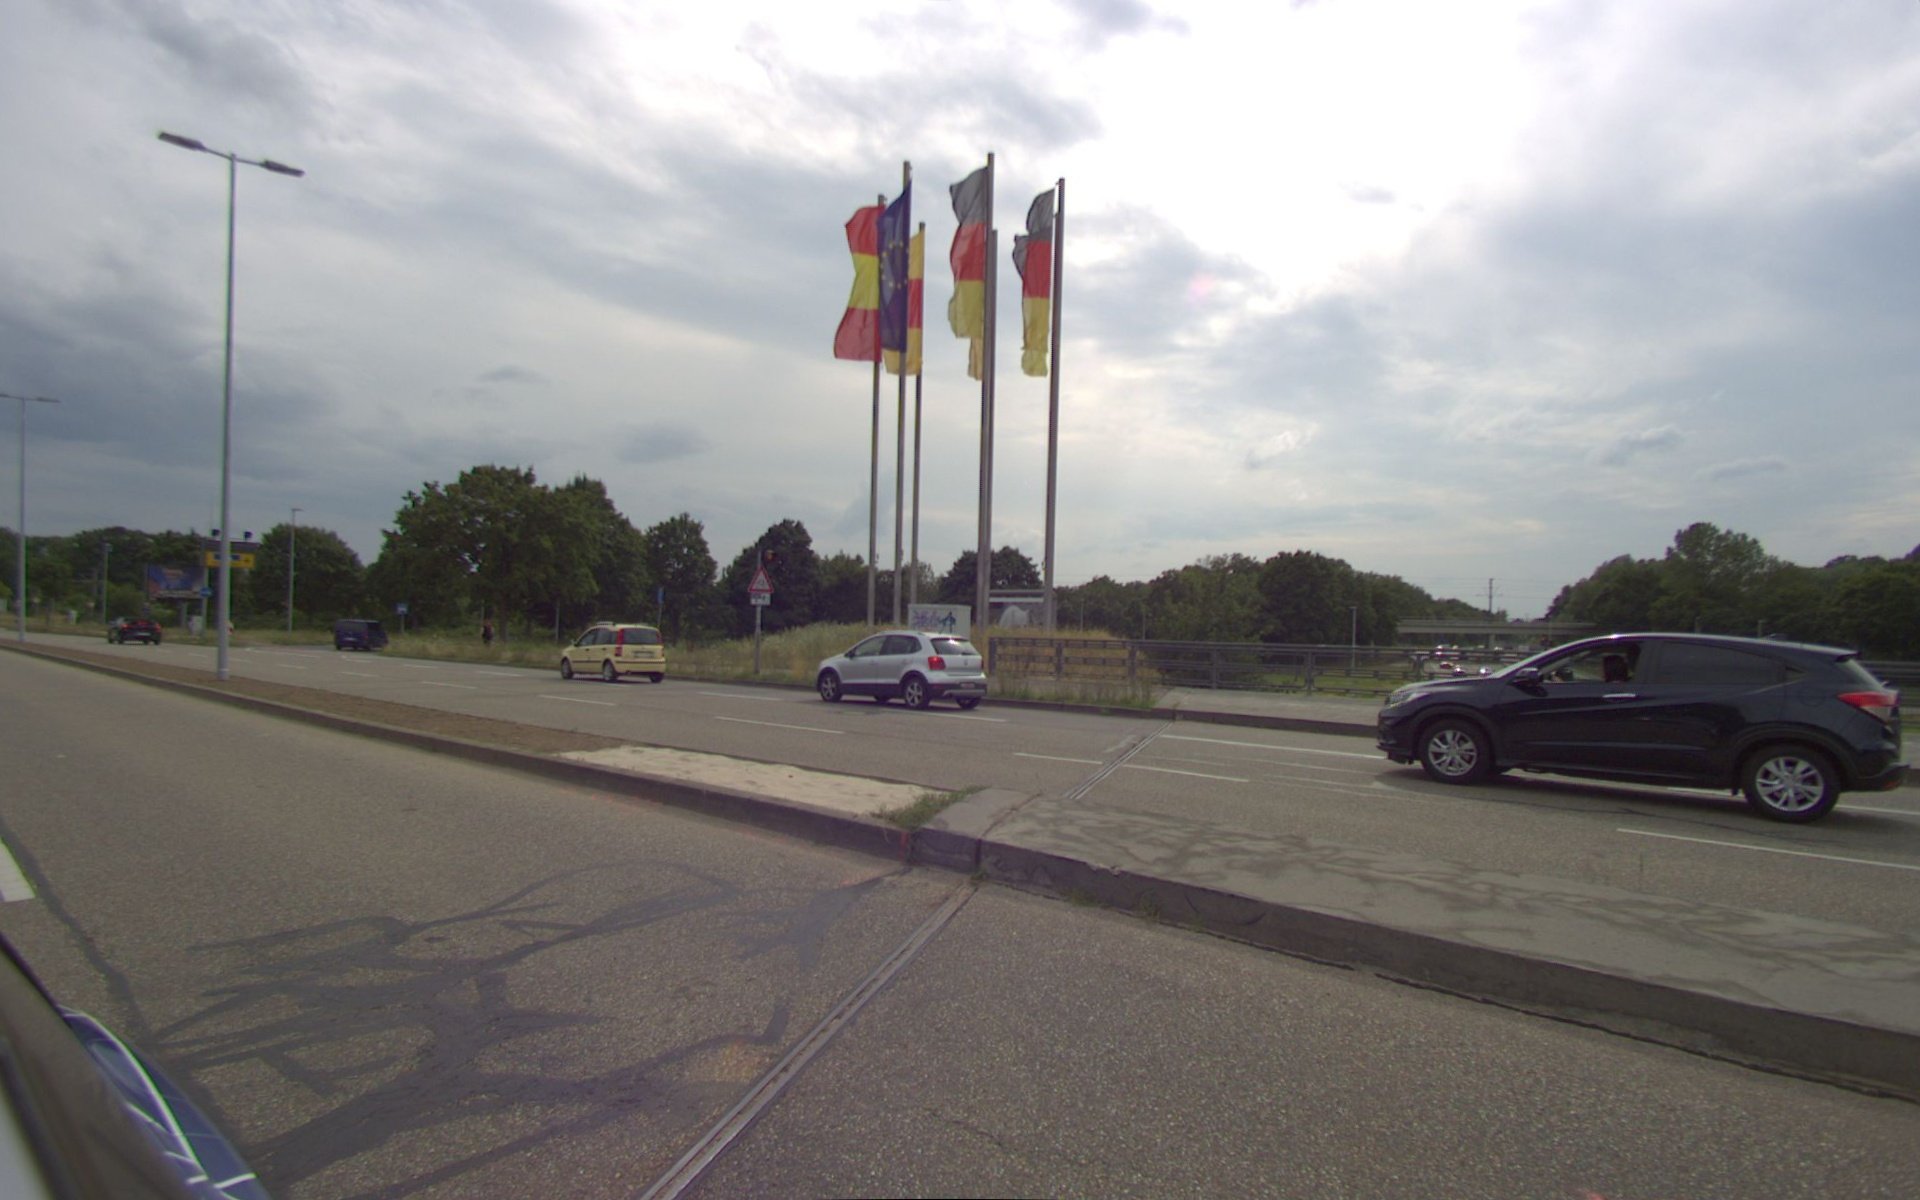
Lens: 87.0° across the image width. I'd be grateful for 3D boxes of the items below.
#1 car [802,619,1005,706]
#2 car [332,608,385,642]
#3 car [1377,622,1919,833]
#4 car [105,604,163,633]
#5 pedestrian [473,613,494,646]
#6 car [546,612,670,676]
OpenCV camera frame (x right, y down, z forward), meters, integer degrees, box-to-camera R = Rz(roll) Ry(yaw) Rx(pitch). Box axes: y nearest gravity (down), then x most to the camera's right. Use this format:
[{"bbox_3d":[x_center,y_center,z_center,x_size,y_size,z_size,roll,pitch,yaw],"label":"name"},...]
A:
[{"bbox_3d":[-1.187,1.176,19.980,4.016,1.527,1.631,-1,-3,43],"label":"car"},{"bbox_3d":[-37.344,1.592,62.948,1.821,1.908,5.522,4,-3,-21],"label":"car"},{"bbox_3d":[6.490,1.050,9.677,4.312,1.527,1.722,1,-3,40],"label":"car"},{"bbox_3d":[-44.294,0.996,54.237,4.176,1.452,1.744,0,-3,42],"label":"car"},{"bbox_3d":[-25.178,1.545,53.507,0.853,1.706,0.681,2,-3,-19],"label":"pedestrian"},{"bbox_3d":[-9.538,1.158,27.306,3.689,1.590,1.532,0,-3,42],"label":"car"}]
